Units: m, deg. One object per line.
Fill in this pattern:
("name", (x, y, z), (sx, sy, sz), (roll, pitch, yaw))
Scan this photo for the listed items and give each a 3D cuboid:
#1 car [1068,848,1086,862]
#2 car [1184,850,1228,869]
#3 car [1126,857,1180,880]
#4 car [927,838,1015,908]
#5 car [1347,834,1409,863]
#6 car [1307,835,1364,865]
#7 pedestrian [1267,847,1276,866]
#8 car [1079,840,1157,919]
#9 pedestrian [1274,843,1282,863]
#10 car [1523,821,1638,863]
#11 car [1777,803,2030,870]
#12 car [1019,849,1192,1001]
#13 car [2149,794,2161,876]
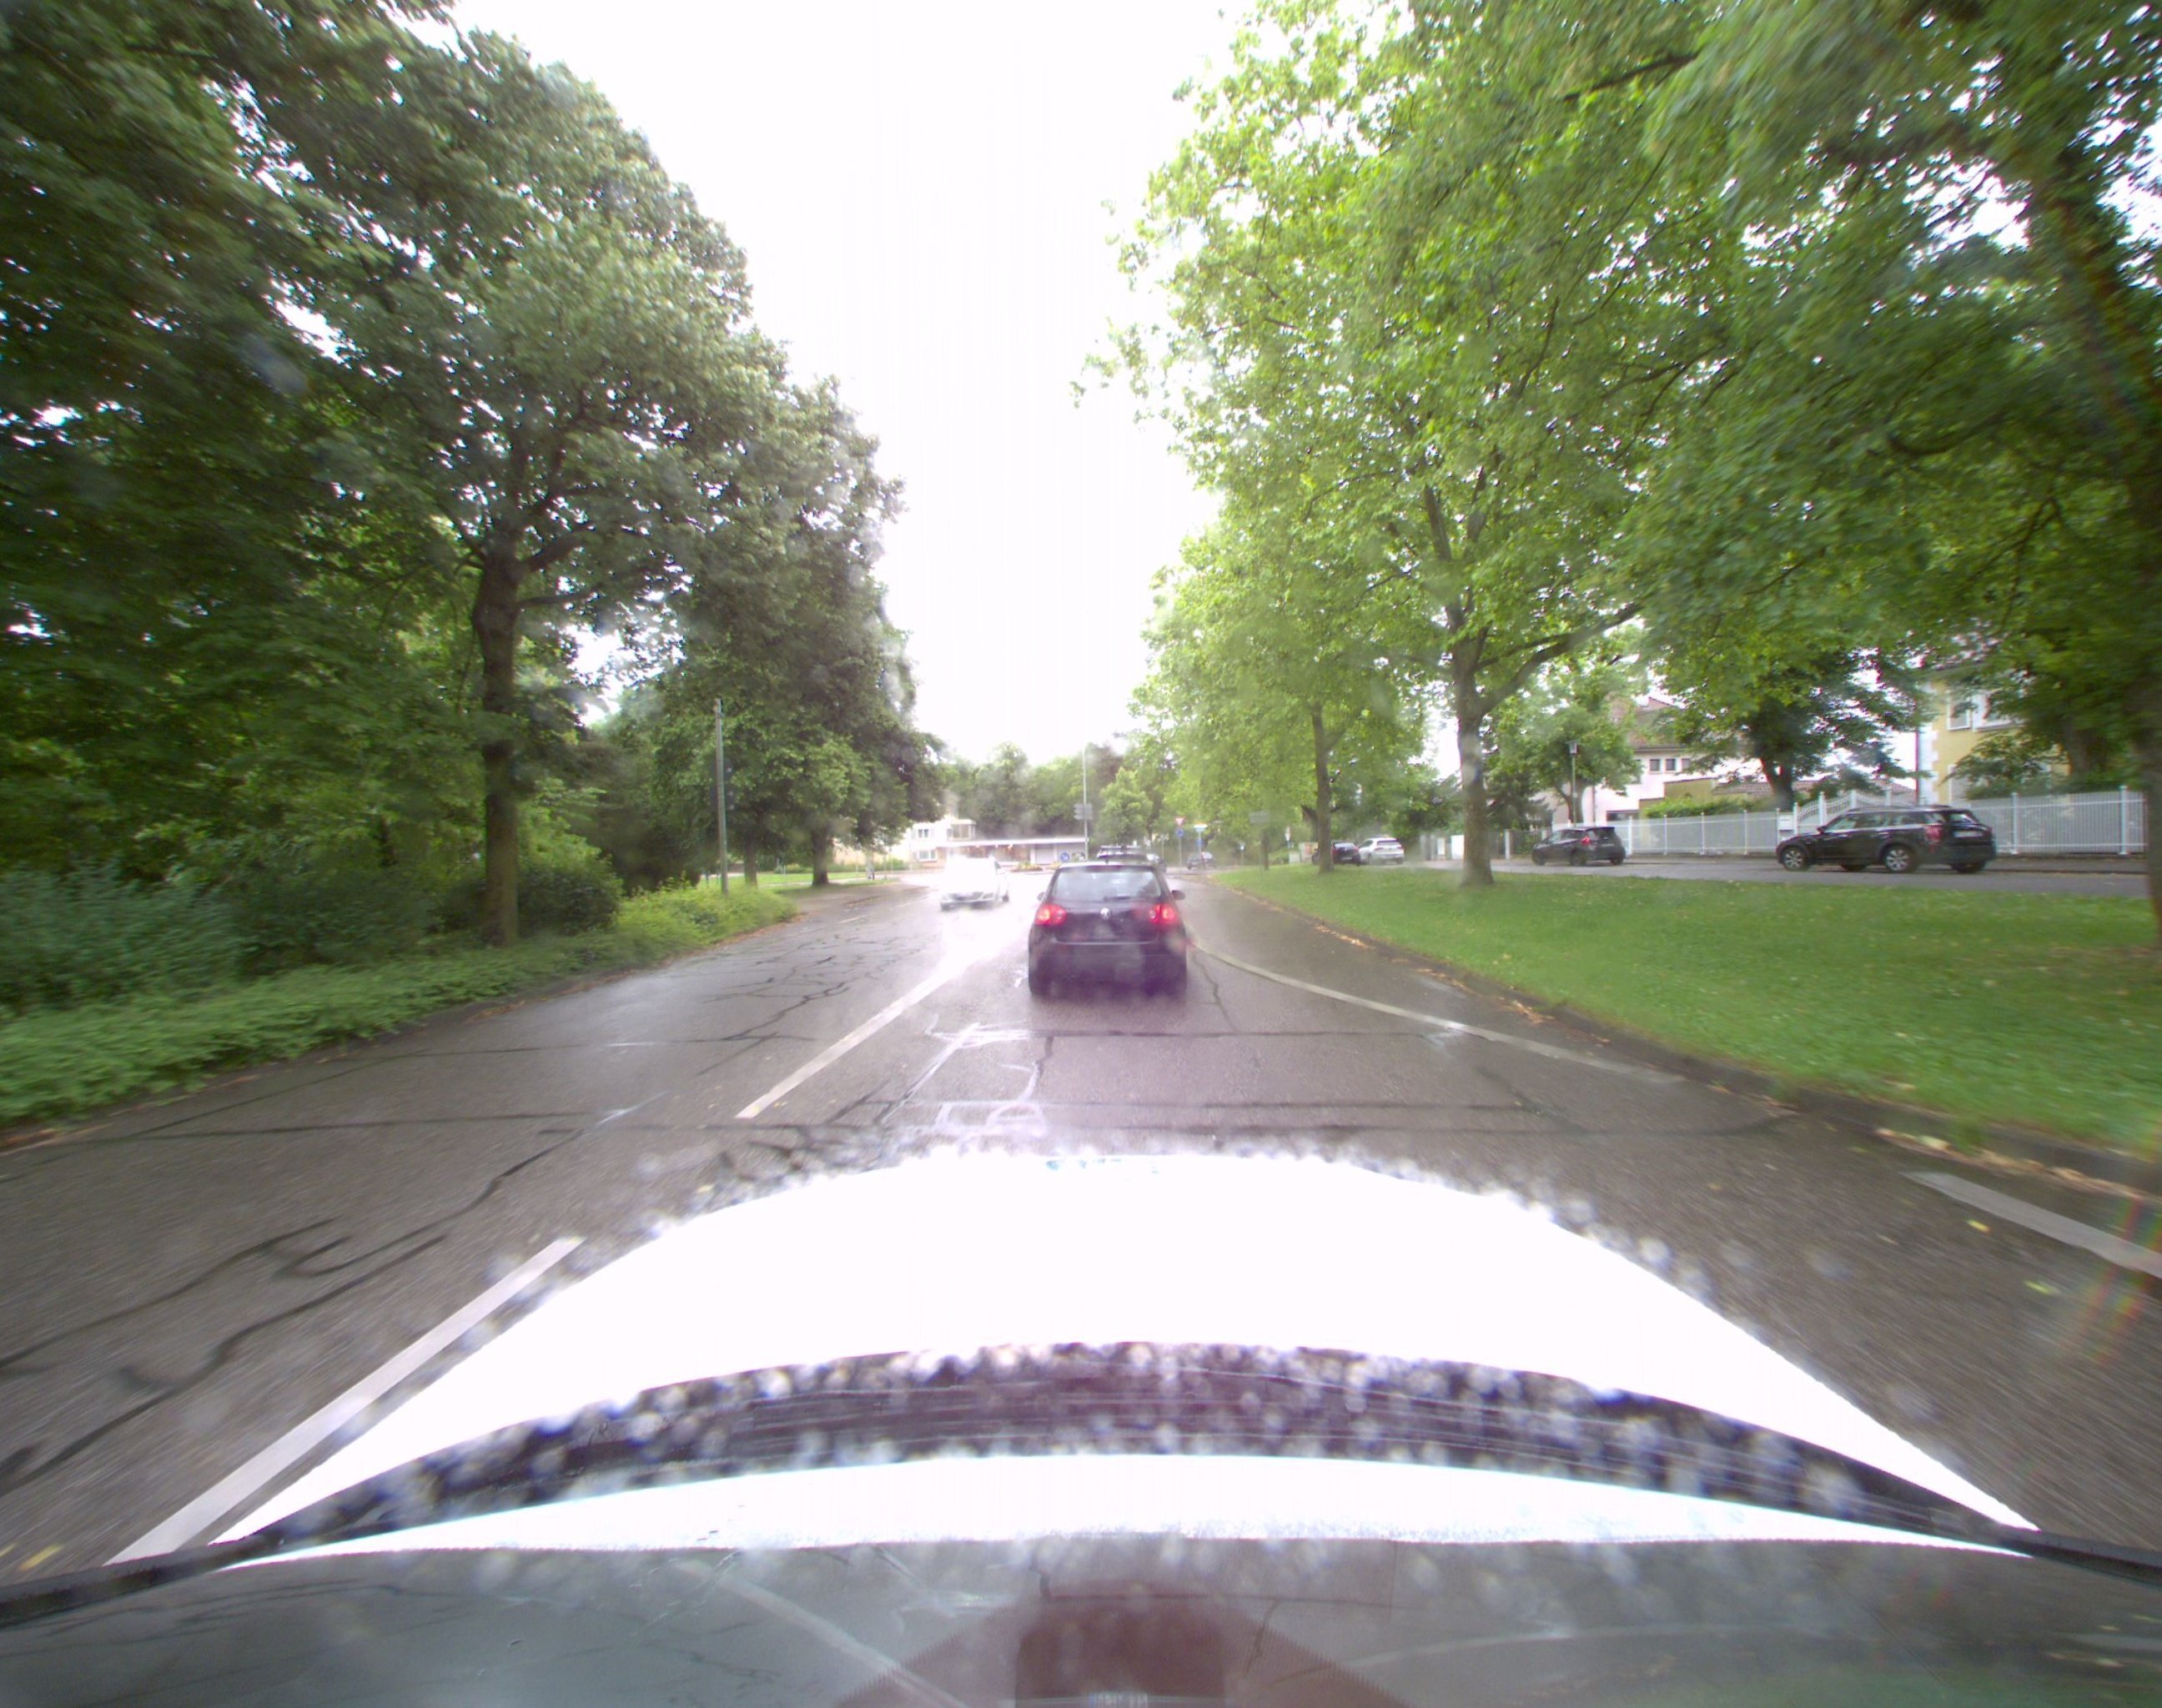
("car", (-0.475, 0.118, 94.286), (1.809, 1.486, 3.825), (-3, 0, -4))
("car", (10.585, 0.487, 68.878), (1.974, 1.530, 4.025), (-1, -1, 37))
("car", (5.138, 0.996, 57.927), (1.974, 1.530, 4.025), (-1, -1, 37))
("car", (-3.391, 0.564, 25.978), (1.985, 2.014, 4.577), (0, 0, 3))
("car", (16.524, -0.280, 45.510), (1.839, 1.471, 4.426), (-3, 0, 1))
("car", (14.067, -0.192, 45.321), (1.758, 1.471, 4.599), (-4, -1, 2))
("pedestrian", (16.580, 0.211, 70.963), (0.528, 1.713, 0.633), (0, -1, -12))
("car", (0.946, 0.620, 21.506), (1.758, 1.801, 4.247), (-3, -1, 2))
("pedestrian", (17.361, -0.091, 71.786), (0.628, 1.713, 0.532), (0, -1, 19))
("car", (19.616, -0.417, 32.229), (1.755, 1.471, 4.354), (-2, 0, -1))
("car", (19.751, -0.366, 19.865), (1.988, 1.471, 4.122), (0, 0, -2))
("car", (0.309, 0.740, 10.294), (1.758, 1.538, 4.001), (0, 0, 2))
("car", (20.132, -0.355, 12.531), (1.988, 1.449, 4.122), (0, 0, -2))
